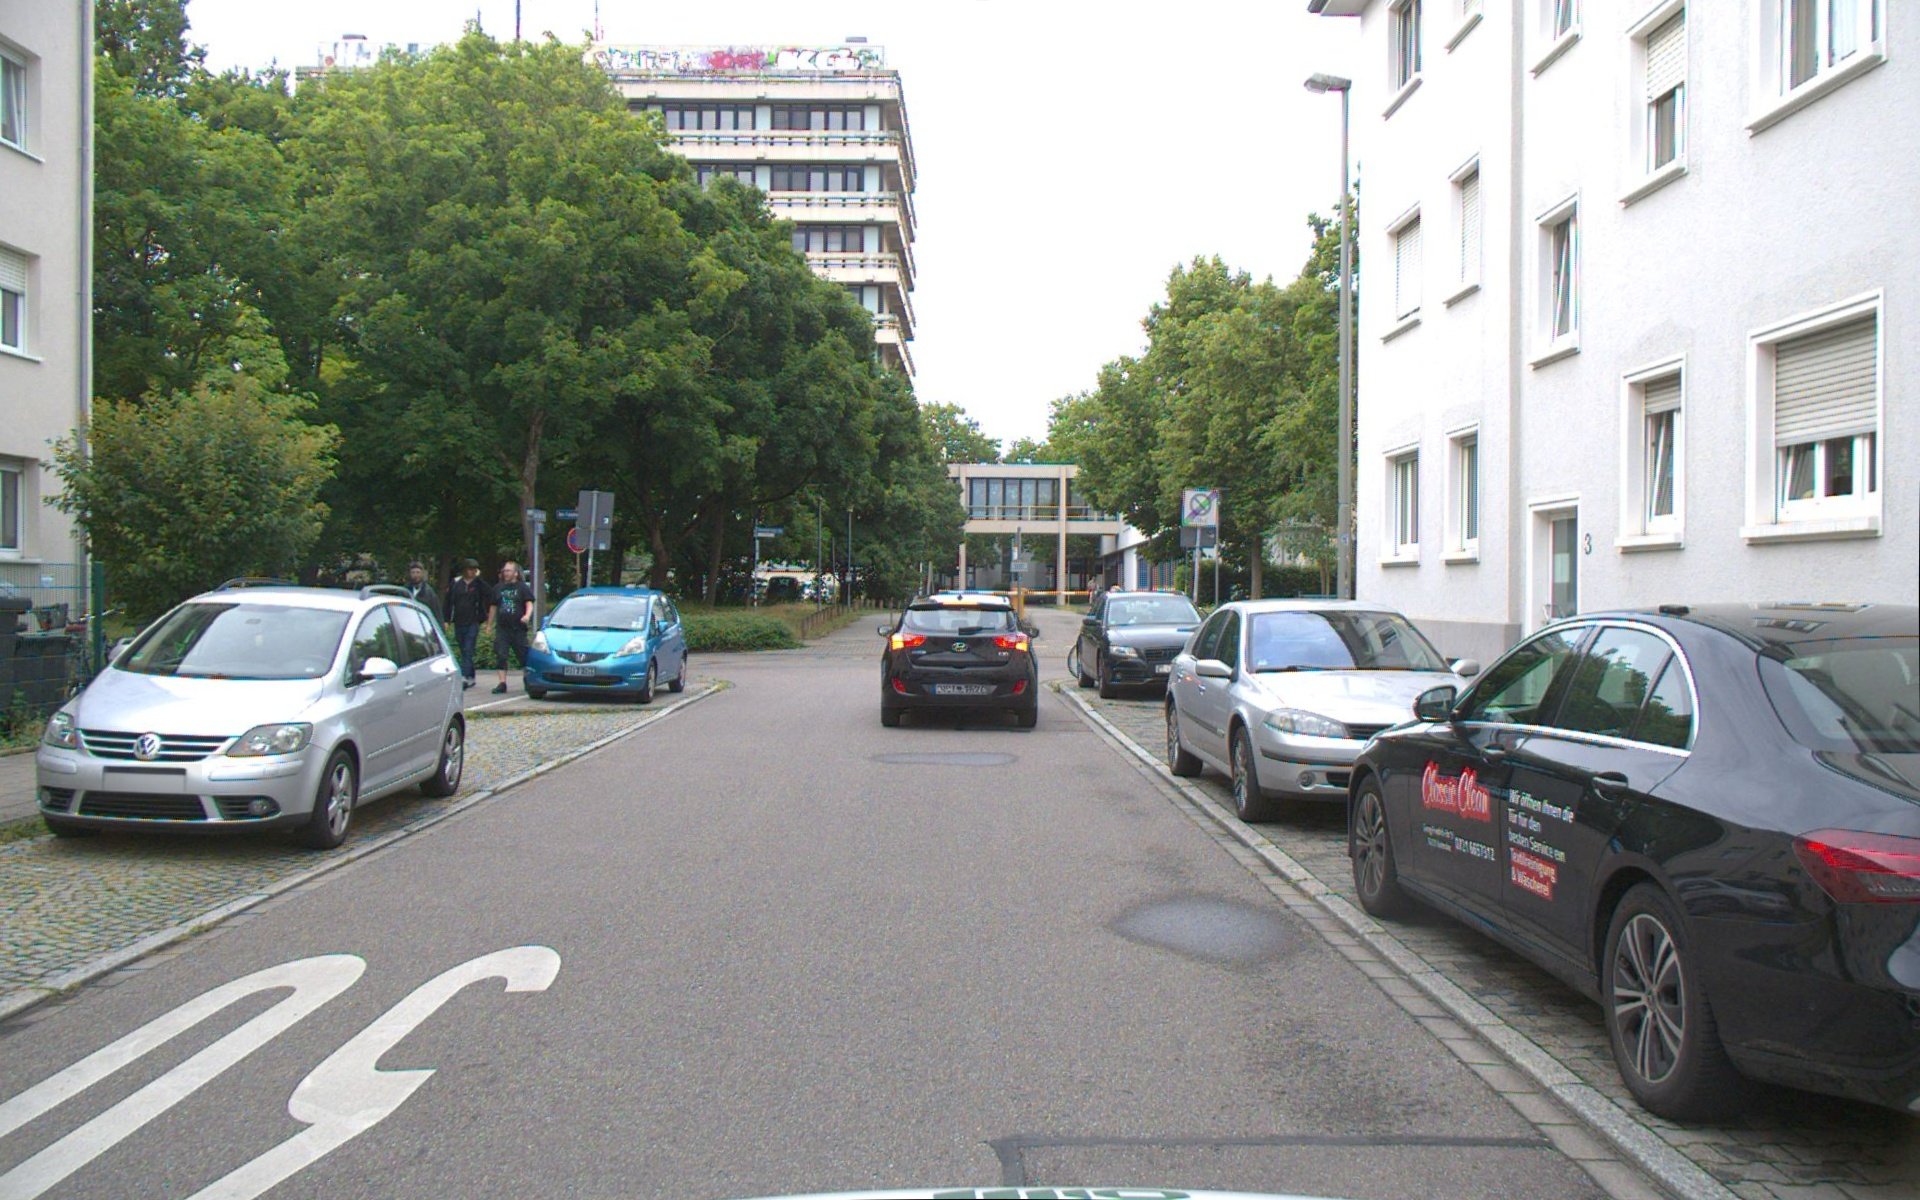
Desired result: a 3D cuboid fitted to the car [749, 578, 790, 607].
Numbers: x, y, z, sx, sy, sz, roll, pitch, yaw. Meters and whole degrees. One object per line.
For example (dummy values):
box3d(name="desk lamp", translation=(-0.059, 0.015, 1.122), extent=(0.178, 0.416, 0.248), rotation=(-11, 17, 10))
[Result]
box3d(name="car", translation=(-9.399, -0.393, 81.747), extent=(1.632, 1.356, 3.395), rotation=(1, 1, -1))

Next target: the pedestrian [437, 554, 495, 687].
box3d(name="pedestrian", translation=(-7.057, 0.283, 23.651), extent=(0.592, 1.863, 0.675), rotation=(1, 0, 1))

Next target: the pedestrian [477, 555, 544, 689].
box3d(name="pedestrian", translation=(-6.387, 0.298, 23.544), extent=(0.699, 1.863, 0.797), rotation=(1, 0, 1))

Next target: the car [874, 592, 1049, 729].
box3d(name="car", translation=(0.007, 0.636, 19.741), extent=(1.864, 1.458, 4.232), rotation=(0, 0, 0))

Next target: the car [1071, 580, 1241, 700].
box3d(name="car", translation=(2.726, 0.498, 24.011), extent=(1.783, 1.546, 4.672), rotation=(1, 1, -1))

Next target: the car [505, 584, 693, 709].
box3d(name="car", translation=(-5.017, 0.590, 23.540), extent=(1.954, 1.568, 3.998), rotation=(1, 1, -3))

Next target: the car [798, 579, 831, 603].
box3d(name="car", translation=(-8.383, -0.523, 95.201), extent=(1.632, 1.356, 3.395), rotation=(1, 1, -1))

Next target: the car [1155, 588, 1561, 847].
box3d(name="car", translation=(2.665, 0.689, 12.253), extent=(1.783, 1.546, 4.672), rotation=(0, 0, -1))

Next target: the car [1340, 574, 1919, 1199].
box3d(name="car", translation=(2.852, 0.705, 5.957), extent=(1.783, 1.546, 4.672), rotation=(0, 0, -1))

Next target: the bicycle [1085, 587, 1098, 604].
box3d(name="bicycle", translation=(8.236, -0.297, 103.632), extent=(0.679, 1.014, 1.735), rotation=(1, 1, 0))

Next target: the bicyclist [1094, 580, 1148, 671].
box3d(name="bicyclist", translation=(2.853, 0.447, 29.384), extent=(0.881, 1.579, 0.693), rotation=(1, 0, 0))

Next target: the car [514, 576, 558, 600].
box3d(name="car", translation=(-24.433, -0.693, 95.391), extent=(1.632, 1.356, 3.395), rotation=(1, 1, -1))

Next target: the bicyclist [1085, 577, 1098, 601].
box3d(name="bicyclist", translation=(8.241, -0.701, 103.634), extent=(0.679, 1.469, 0.795), rotation=(1, 0, 0))

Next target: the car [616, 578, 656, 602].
box3d(name="car", translation=(-18.624, -0.595, 95.150), extent=(1.632, 1.356, 3.395), rotation=(1, 1, -1))

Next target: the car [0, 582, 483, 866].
box3d(name="car", translation=(-4.781, 0.690, 11.328), extent=(1.953, 1.568, 3.998), rotation=(1, 0, -2))

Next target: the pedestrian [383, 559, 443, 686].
box3d(name="pedestrian", translation=(-7.607, 0.304, 23.011), extent=(0.588, 1.743, 0.648), rotation=(1, 0, 1))

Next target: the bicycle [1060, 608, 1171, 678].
box3d(name="bicycle", translation=(2.755, 0.758, 29.388), extent=(1.888, 1.183, 0.692), rotation=(1, 0, 0))
